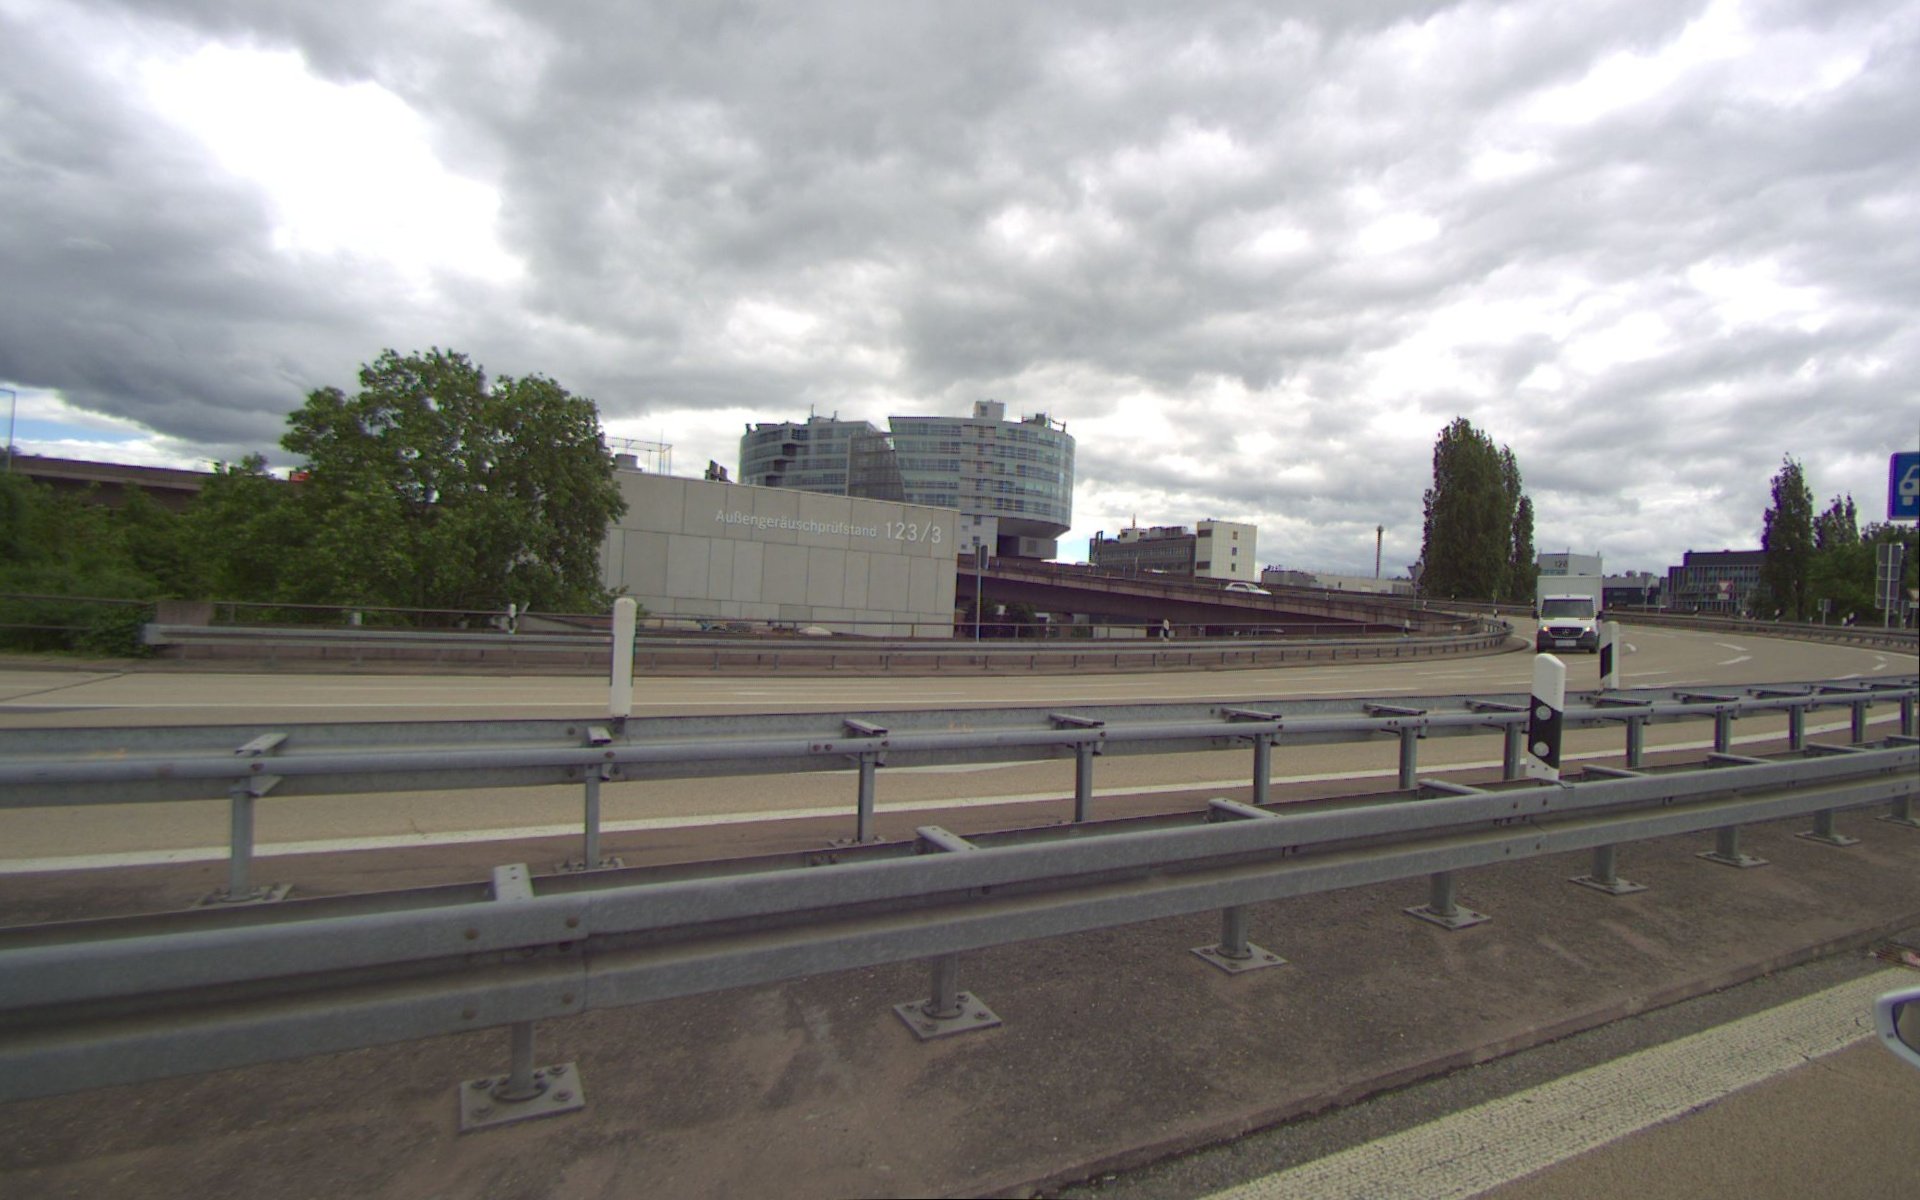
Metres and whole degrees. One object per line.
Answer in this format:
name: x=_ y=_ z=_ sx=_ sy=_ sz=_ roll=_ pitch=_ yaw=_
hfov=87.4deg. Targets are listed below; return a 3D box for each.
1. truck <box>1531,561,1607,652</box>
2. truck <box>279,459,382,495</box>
truck: x=24.290 y=0.257 z=40.277 sx=2.310 sy=3.307 sz=6.982 roll=1 pitch=0 yaw=29
truck: x=-78.183 y=-15.270 z=124.961 sx=10.680 sy=3.284 sz=2.282 roll=4 pitch=-1 yaw=-8
